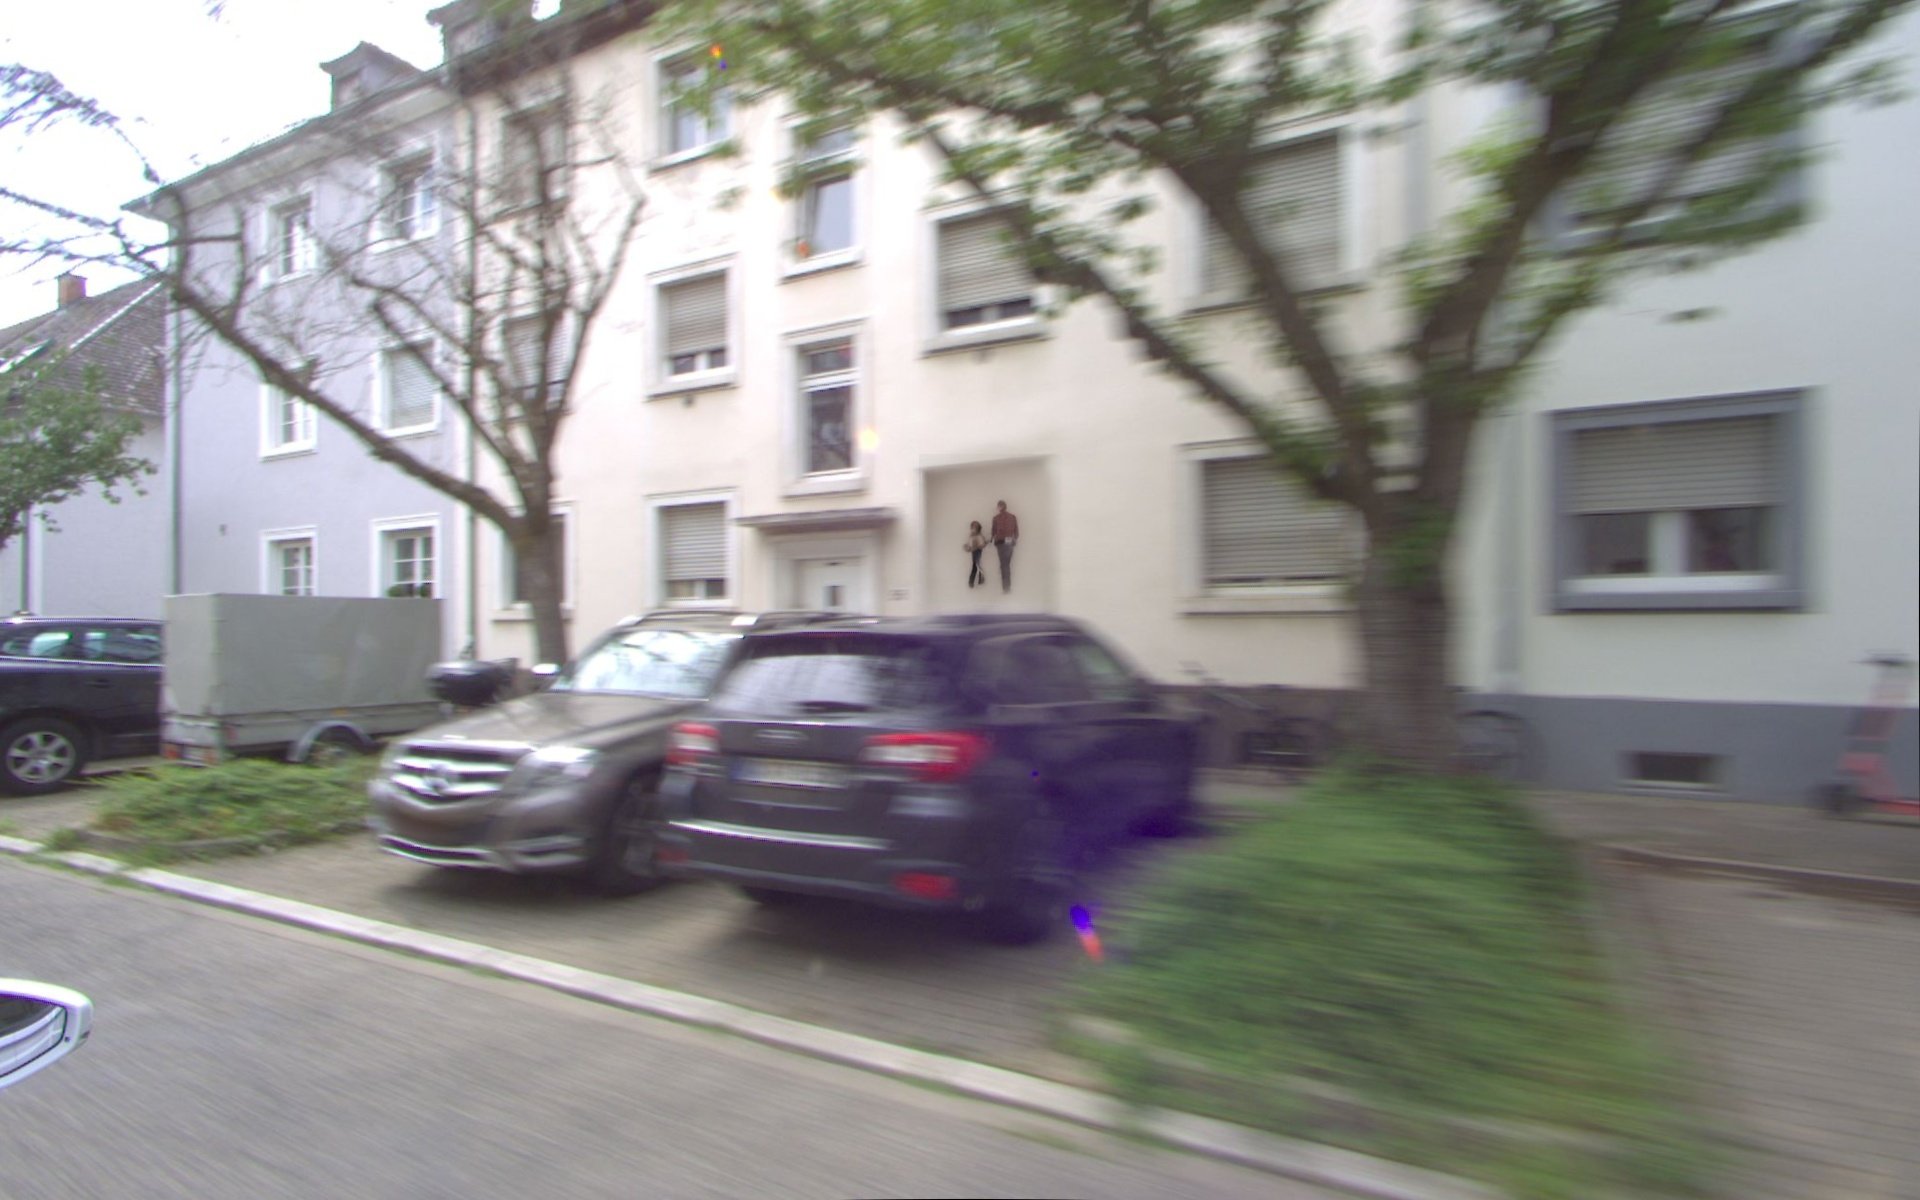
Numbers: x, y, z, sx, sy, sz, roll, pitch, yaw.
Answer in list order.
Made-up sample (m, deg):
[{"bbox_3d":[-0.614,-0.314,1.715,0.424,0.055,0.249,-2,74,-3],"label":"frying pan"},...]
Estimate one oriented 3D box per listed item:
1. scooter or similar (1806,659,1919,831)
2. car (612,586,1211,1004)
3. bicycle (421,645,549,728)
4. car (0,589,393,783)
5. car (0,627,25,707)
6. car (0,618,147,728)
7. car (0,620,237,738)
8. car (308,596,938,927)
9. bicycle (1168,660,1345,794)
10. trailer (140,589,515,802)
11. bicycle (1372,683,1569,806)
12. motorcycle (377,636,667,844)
[{"bbox_3d":[6.792,1.016,7.046,1.235,1.163,0.363,-1,1,32],"label":"scooter or similar"},{"bbox_3d":[0.140,0.762,6.183,1.873,1.619,4.212,-1,0,26],"label":"car"},{"bbox_3d":[-6.973,1.238,14.674,1.976,1.112,0.685,-1,0,30],"label":"bicycle"},{"bbox_3d":[-8.746,0.786,10.777,1.876,1.759,4.207,-1,0,31],"label":"car"},{"bbox_3d":[-19.033,1.254,17.502,1.781,1.472,3.540,-1,0,28],"label":"car"},{"bbox_3d":[-14.721,1.084,14.685,1.740,1.550,3.986,-1,0,26],"label":"car"},{"bbox_3d":[-12.580,1.041,13.721,1.740,1.429,3.986,-1,0,26],"label":"car"},{"bbox_3d":[-1.968,0.805,7.227,1.873,1.619,4.213,-1,0,26],"label":"car"},{"bbox_3d":[2.679,1.115,9.103,1.451,1.095,0.502,-1,1,32],"label":"bicycle"},{"bbox_3d":[-6.363,0.835,10.343,1.380,1.855,2.954,-1,0,32],"label":"trailer"},{"bbox_3d":[4.291,1.191,8.466,1.451,0.917,0.320,-1,1,32],"label":"bicycle"},{"bbox_3d":[-3.425,1.015,8.116,0.703,1.427,2.225,0,-1,26],"label":"motorcycle"}]
